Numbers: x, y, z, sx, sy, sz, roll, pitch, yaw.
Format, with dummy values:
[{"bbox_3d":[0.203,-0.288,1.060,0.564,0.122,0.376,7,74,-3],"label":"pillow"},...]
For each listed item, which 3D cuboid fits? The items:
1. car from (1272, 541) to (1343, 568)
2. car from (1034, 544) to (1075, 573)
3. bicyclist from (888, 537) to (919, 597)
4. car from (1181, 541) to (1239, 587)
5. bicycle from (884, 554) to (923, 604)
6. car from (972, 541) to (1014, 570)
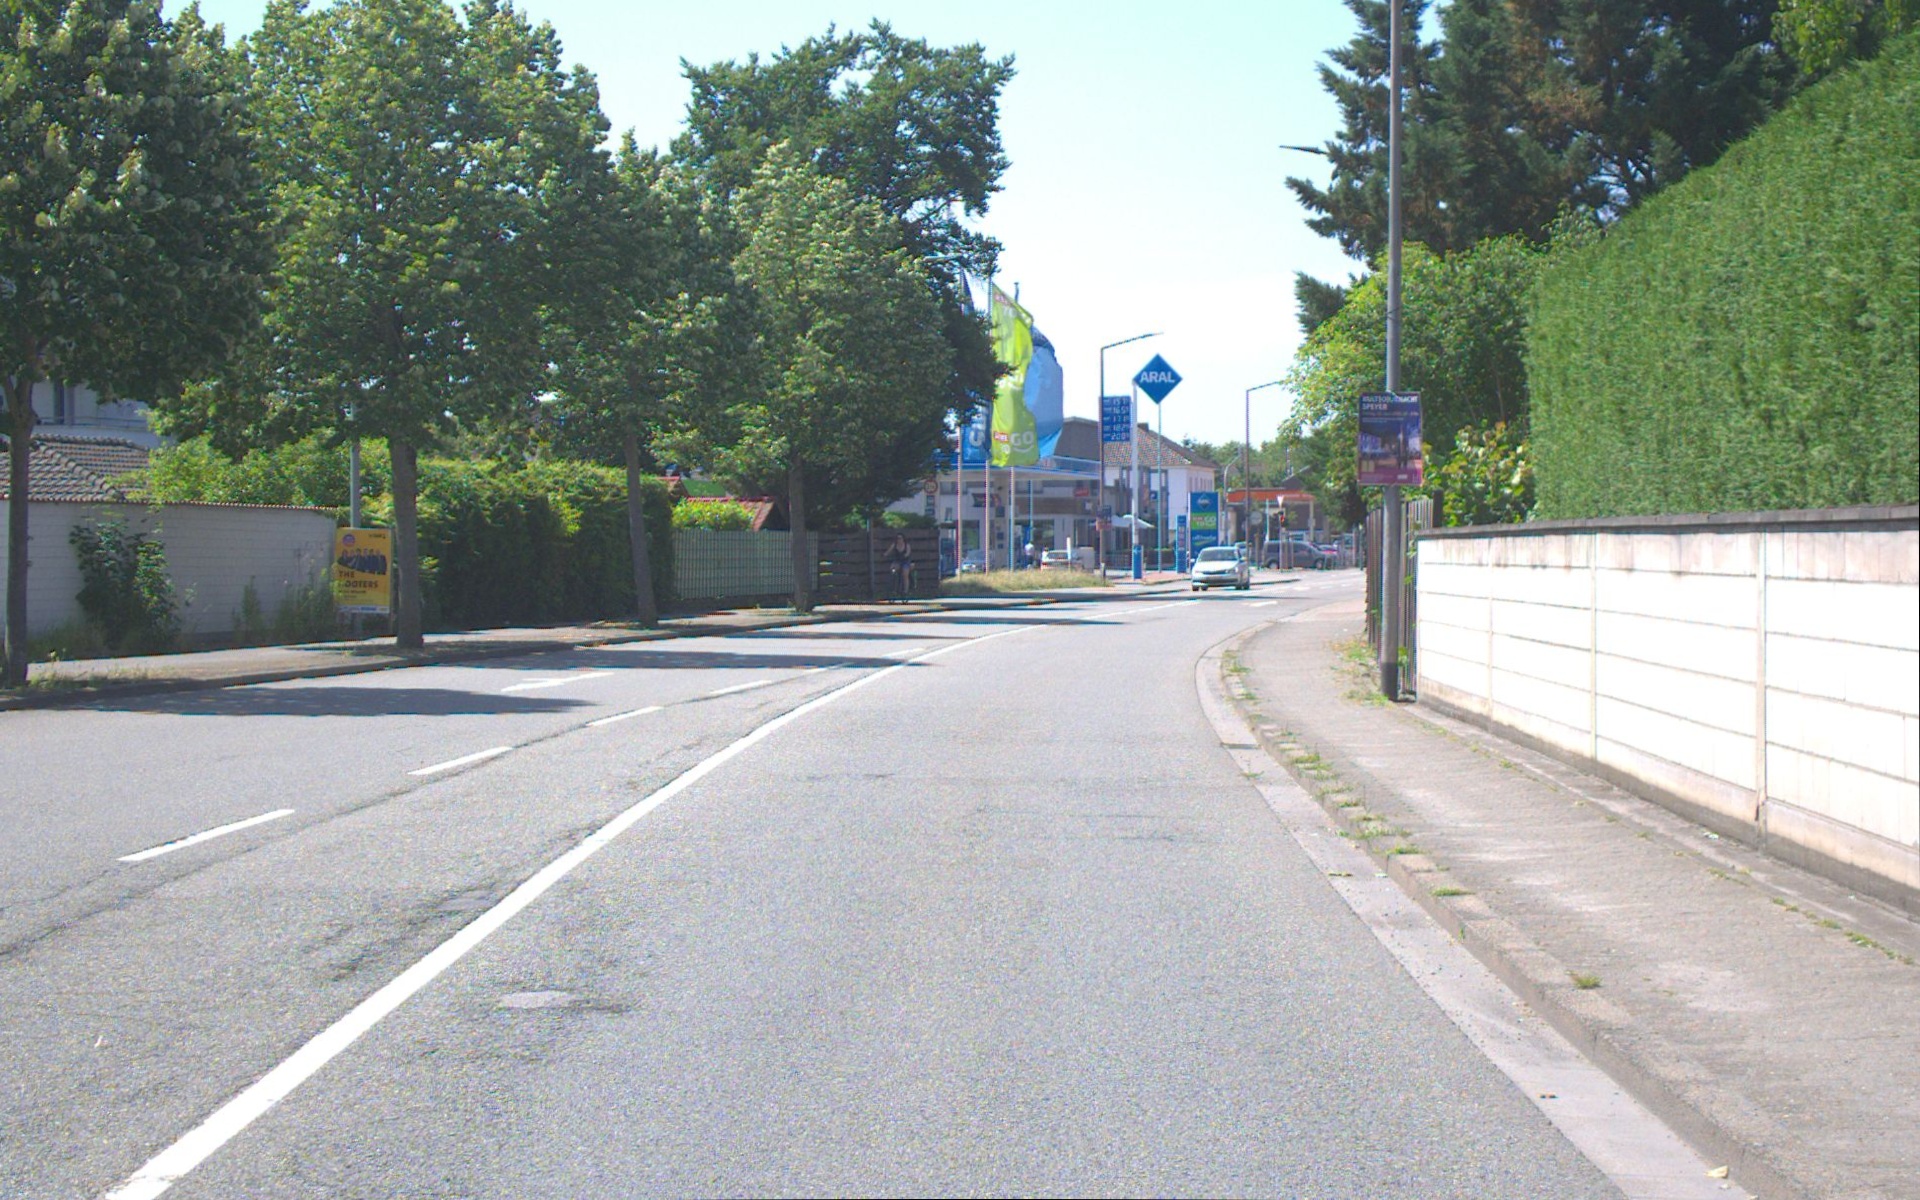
[{"bbox_3d":[20.263,-2.645,200.382,3.988,1.503,1.554,1,1,9],"label":"car"},{"bbox_3d":[4.741,-2.074,172.678,1.617,1.415,3.710,-1,1,8],"label":"car"},{"bbox_3d":[-1.336,-0.789,81.210,0.628,1.404,0.676,0,1,8],"label":"bicyclist"},{"bbox_3d":[8.449,-1.222,115.982,1.612,1.477,3.706,1,1,9],"label":"car"},{"bbox_3d":[-1.333,-0.506,81.267,0.632,1.176,1.815,0,1,8],"label":"bicycle"},{"bbox_3d":[1.649,-2.217,172.839,1.617,1.415,3.710,-1,1,8],"label":"car"}]
